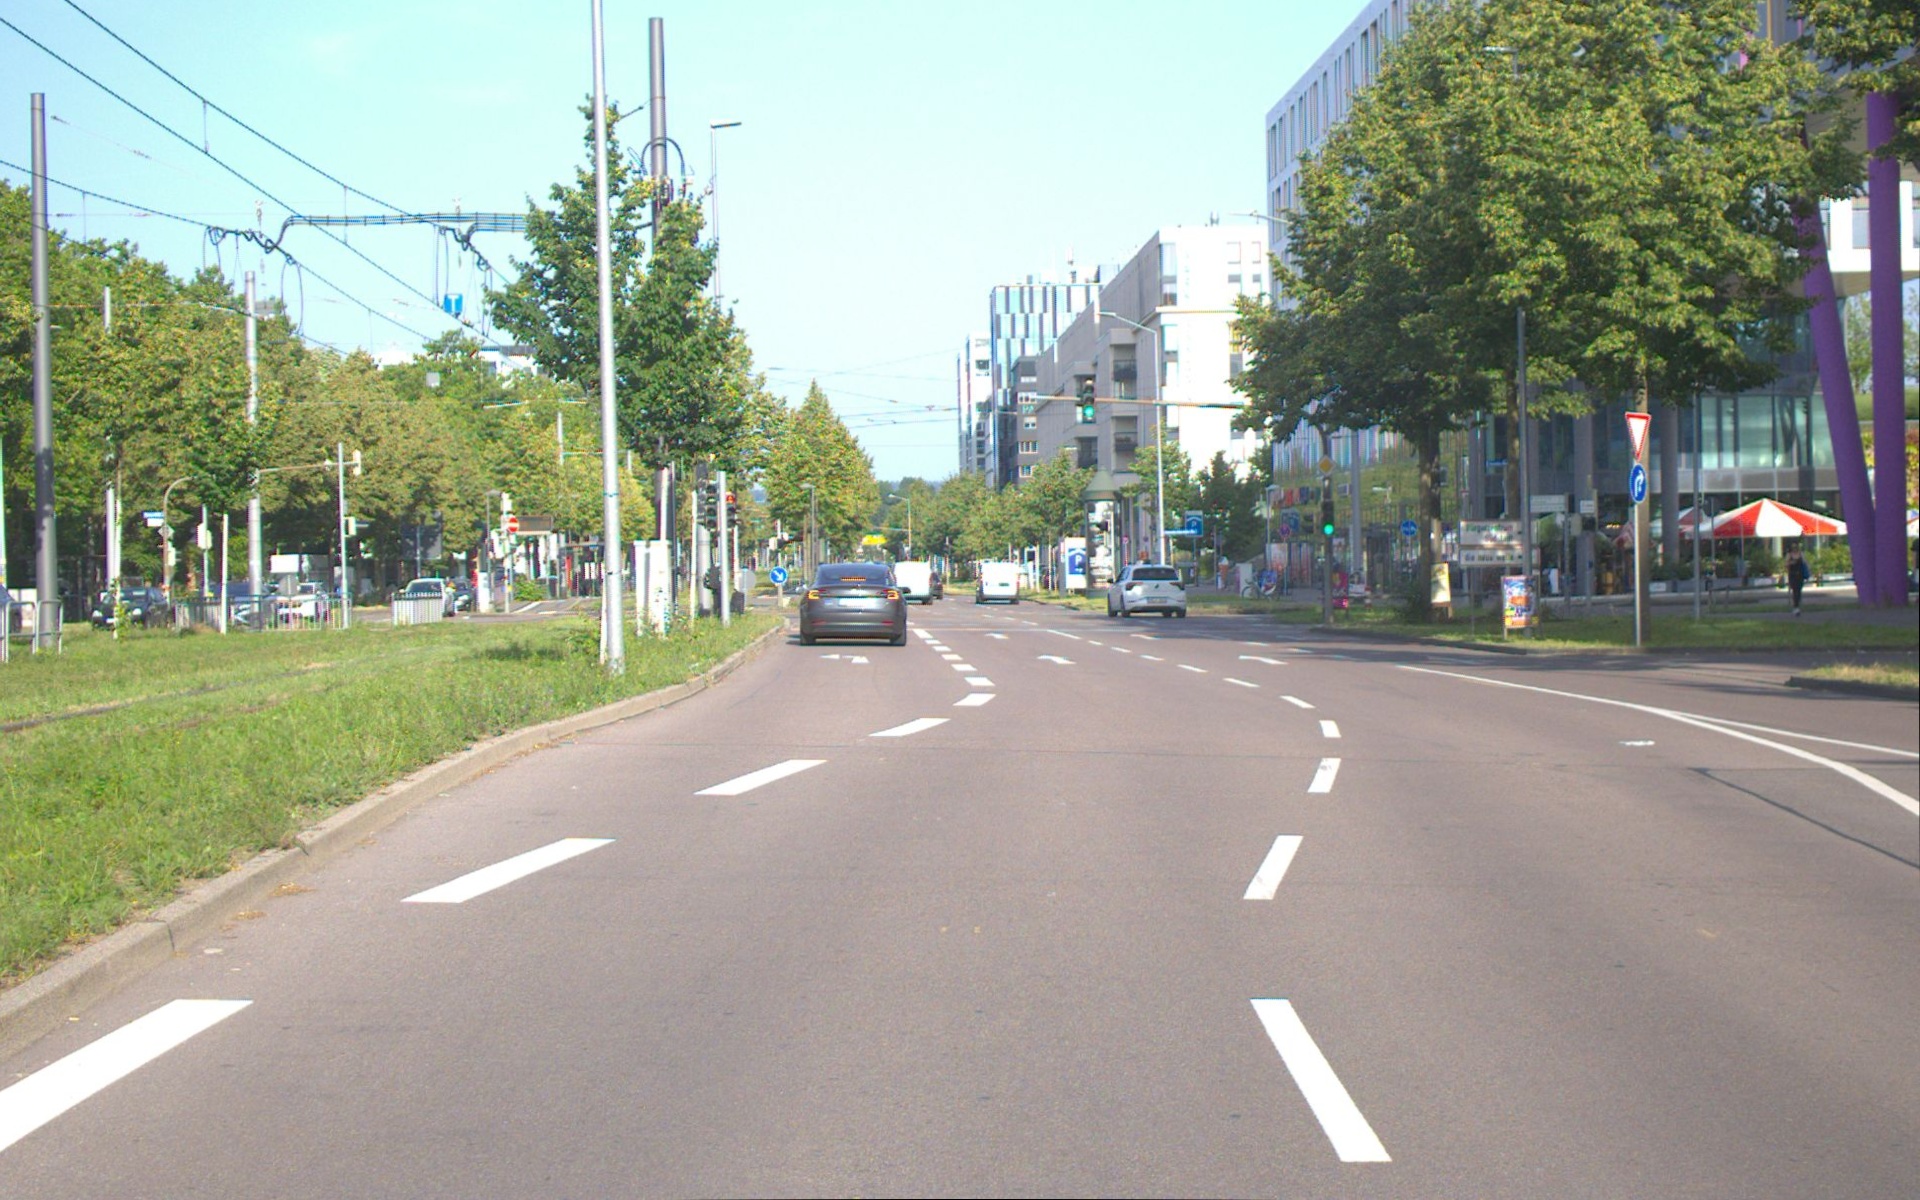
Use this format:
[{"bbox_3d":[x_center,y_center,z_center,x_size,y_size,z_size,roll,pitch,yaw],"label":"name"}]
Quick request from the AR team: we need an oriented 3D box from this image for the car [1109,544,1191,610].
[{"bbox_3d":[5.035,-0.629,91.743,1.864,1.678,4.000,1,1,-1],"label":"car"}]

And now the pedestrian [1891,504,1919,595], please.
[{"bbox_3d":[19.170,-1.019,68.792,0.754,1.787,0.844,-3,1,-2],"label":"pedestrian"}]

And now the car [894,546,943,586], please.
[{"bbox_3d":[-1.798,-1.464,147.578,2.014,1.678,4.000,1,1,-1],"label":"car"}]

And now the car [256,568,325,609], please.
[{"bbox_3d":[-26.181,-0.476,134.610,1.905,1.522,4.442,-1,1,-2],"label":"car"}]

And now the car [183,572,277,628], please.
[{"bbox_3d":[-23.090,-0.010,108.873,1.993,1.522,4.913,-4,1,-2],"label":"car"}]

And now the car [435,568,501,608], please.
[{"bbox_3d":[-19.301,-0.466,135.099,1.993,1.499,4.093,-1,0,0],"label":"car"}]

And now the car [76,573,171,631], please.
[{"bbox_3d":[-26.240,0.043,107.936,1.993,1.681,4.617,-1,1,-2],"label":"car"}]

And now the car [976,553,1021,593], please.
[{"bbox_3d":[1.690,-1.196,151.663,1.864,1.678,4.000,1,1,-1],"label":"car"}]

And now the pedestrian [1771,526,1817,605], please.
[{"bbox_3d":[17.855,-0.738,73.594,0.694,1.633,0.737,-3,1,-2],"label":"pedestrian"}]

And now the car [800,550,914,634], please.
[{"bbox_3d":[-1.834,-0.167,60.198,1.889,1.381,4.335,1,1,-3],"label":"car"}]

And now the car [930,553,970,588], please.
[{"bbox_3d":[-0.536,-1.509,174.276,1.924,1.678,4.000,1,1,-1],"label":"car"}]
